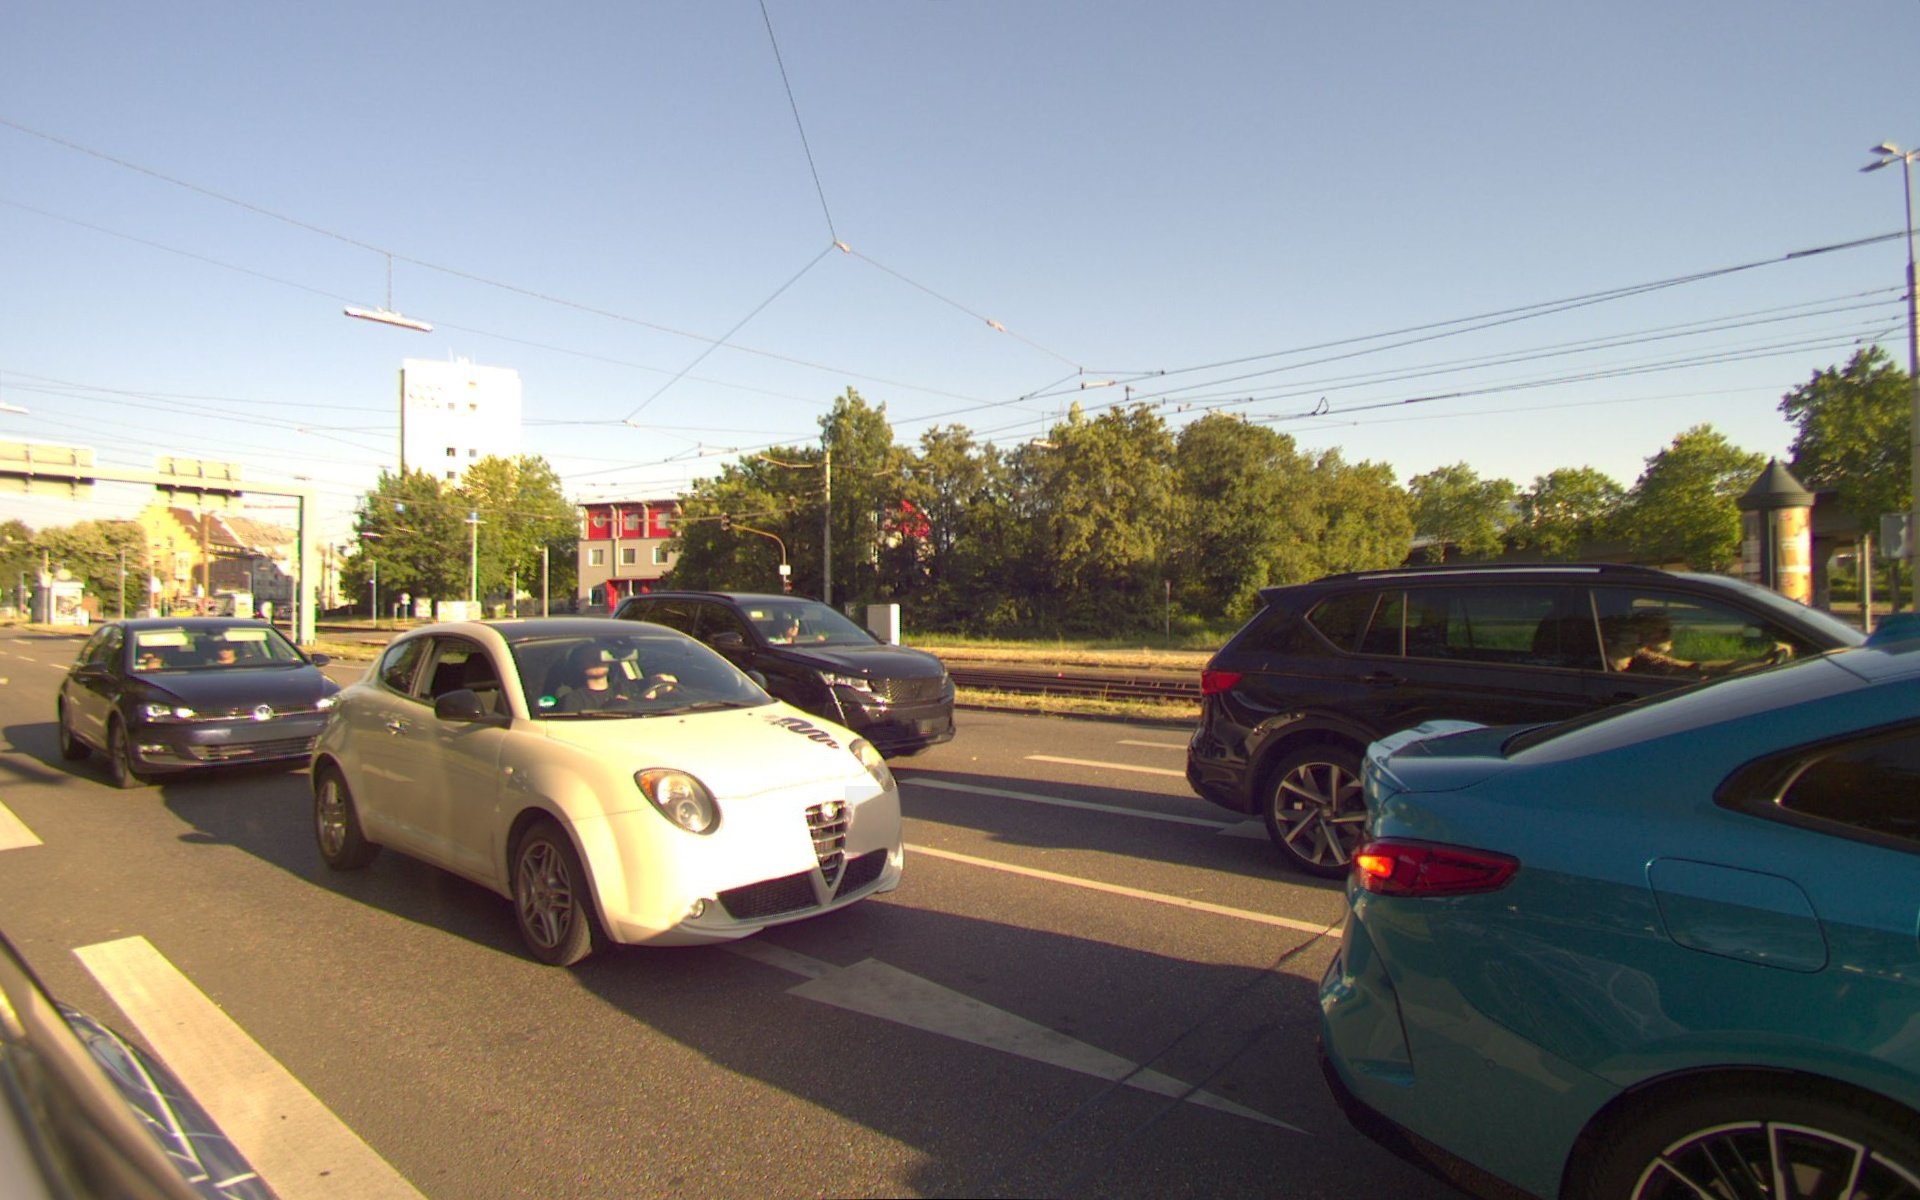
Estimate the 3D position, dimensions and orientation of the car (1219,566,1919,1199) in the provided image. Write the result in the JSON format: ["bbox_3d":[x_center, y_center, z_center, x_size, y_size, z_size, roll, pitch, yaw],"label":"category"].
[{"bbox_3d":[2.868,0.652,1.480,4.507,1.428,1.767,-1,-1,39],"label":"car"}]

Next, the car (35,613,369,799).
[{"bbox_3d":[-7.460,0.860,9.835,3.921,1.441,1.759,-1,-1,40],"label":"car"}]

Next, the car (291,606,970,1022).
[{"bbox_3d":[-1.976,0.772,5.418,3.921,1.441,1.644,-1,-1,40],"label":"car"}]

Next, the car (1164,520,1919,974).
[{"bbox_3d":[3.538,0.565,5.063,4.598,1.694,1.896,-1,-1,40],"label":"car"}]

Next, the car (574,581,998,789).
[{"bbox_3d":[-1.966,0.716,10.366,4.601,1.661,1.894,-1,-1,43],"label":"car"}]
